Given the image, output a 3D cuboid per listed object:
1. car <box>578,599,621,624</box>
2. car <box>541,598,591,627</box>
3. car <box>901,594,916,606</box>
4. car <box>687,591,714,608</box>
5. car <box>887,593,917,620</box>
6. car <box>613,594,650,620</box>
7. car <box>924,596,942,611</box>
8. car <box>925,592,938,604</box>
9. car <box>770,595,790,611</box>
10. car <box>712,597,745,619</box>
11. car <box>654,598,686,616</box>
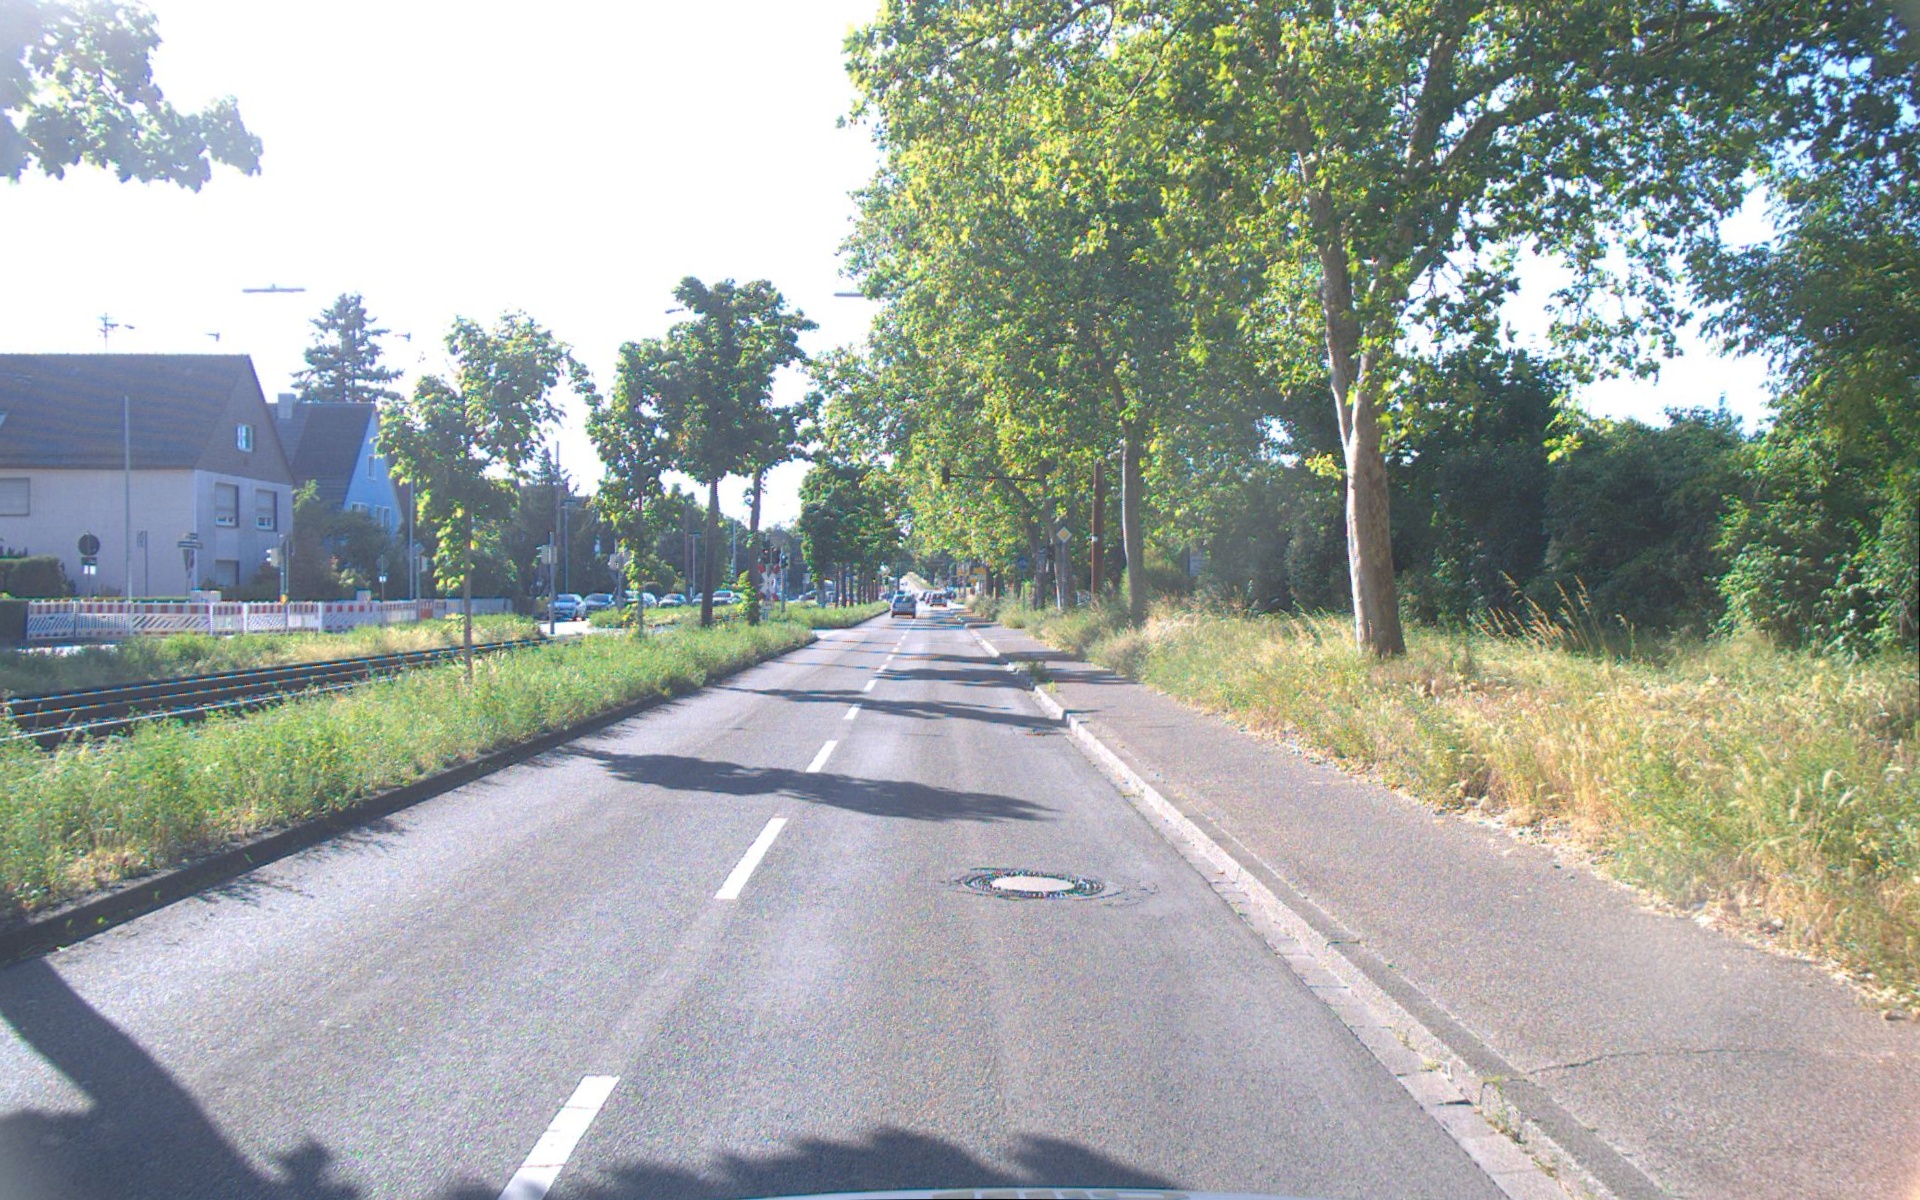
[{"bbox_3d":[-22.336,0.719,102.606,1.694,1.491,4.601,2,0,-1],"label":"car"},{"bbox_3d":[-22.295,0.719,93.721,1.822,1.569,4.226,2,0,-1],"label":"car"},{"bbox_3d":[-7.150,-0.016,229.933,1.953,1.631,4.472,2,0,-1],"label":"car"},{"bbox_3d":[-23.839,-0.041,152.125,1.822,1.438,4.157,2,0,-1],"label":"car"},{"bbox_3d":[-3.705,0.436,106.422,1.822,1.629,4.226,2,0,-1],"label":"car"},{"bbox_3d":[-22.535,0.465,113.650,1.712,1.679,4.554,2,0,-1],"label":"car"},{"bbox_3d":[-2.977,0.389,180.805,1.953,1.631,4.472,2,0,-1],"label":"car"},{"bbox_3d":[-4.063,-0.276,232.433,1.755,1.586,4.226,2,0,-1],"label":"car"},{"bbox_3d":[-19.097,0.317,175.532,1.627,1.579,4.809,2,0,-1],"label":"car"},{"bbox_3d":[-17.866,0.625,127.695,1.953,1.631,4.472,2,0,-1],"label":"car"},{"bbox_3d":[-23.289,0.588,132.933,1.822,1.393,4.226,2,0,-1],"label":"car"}]
